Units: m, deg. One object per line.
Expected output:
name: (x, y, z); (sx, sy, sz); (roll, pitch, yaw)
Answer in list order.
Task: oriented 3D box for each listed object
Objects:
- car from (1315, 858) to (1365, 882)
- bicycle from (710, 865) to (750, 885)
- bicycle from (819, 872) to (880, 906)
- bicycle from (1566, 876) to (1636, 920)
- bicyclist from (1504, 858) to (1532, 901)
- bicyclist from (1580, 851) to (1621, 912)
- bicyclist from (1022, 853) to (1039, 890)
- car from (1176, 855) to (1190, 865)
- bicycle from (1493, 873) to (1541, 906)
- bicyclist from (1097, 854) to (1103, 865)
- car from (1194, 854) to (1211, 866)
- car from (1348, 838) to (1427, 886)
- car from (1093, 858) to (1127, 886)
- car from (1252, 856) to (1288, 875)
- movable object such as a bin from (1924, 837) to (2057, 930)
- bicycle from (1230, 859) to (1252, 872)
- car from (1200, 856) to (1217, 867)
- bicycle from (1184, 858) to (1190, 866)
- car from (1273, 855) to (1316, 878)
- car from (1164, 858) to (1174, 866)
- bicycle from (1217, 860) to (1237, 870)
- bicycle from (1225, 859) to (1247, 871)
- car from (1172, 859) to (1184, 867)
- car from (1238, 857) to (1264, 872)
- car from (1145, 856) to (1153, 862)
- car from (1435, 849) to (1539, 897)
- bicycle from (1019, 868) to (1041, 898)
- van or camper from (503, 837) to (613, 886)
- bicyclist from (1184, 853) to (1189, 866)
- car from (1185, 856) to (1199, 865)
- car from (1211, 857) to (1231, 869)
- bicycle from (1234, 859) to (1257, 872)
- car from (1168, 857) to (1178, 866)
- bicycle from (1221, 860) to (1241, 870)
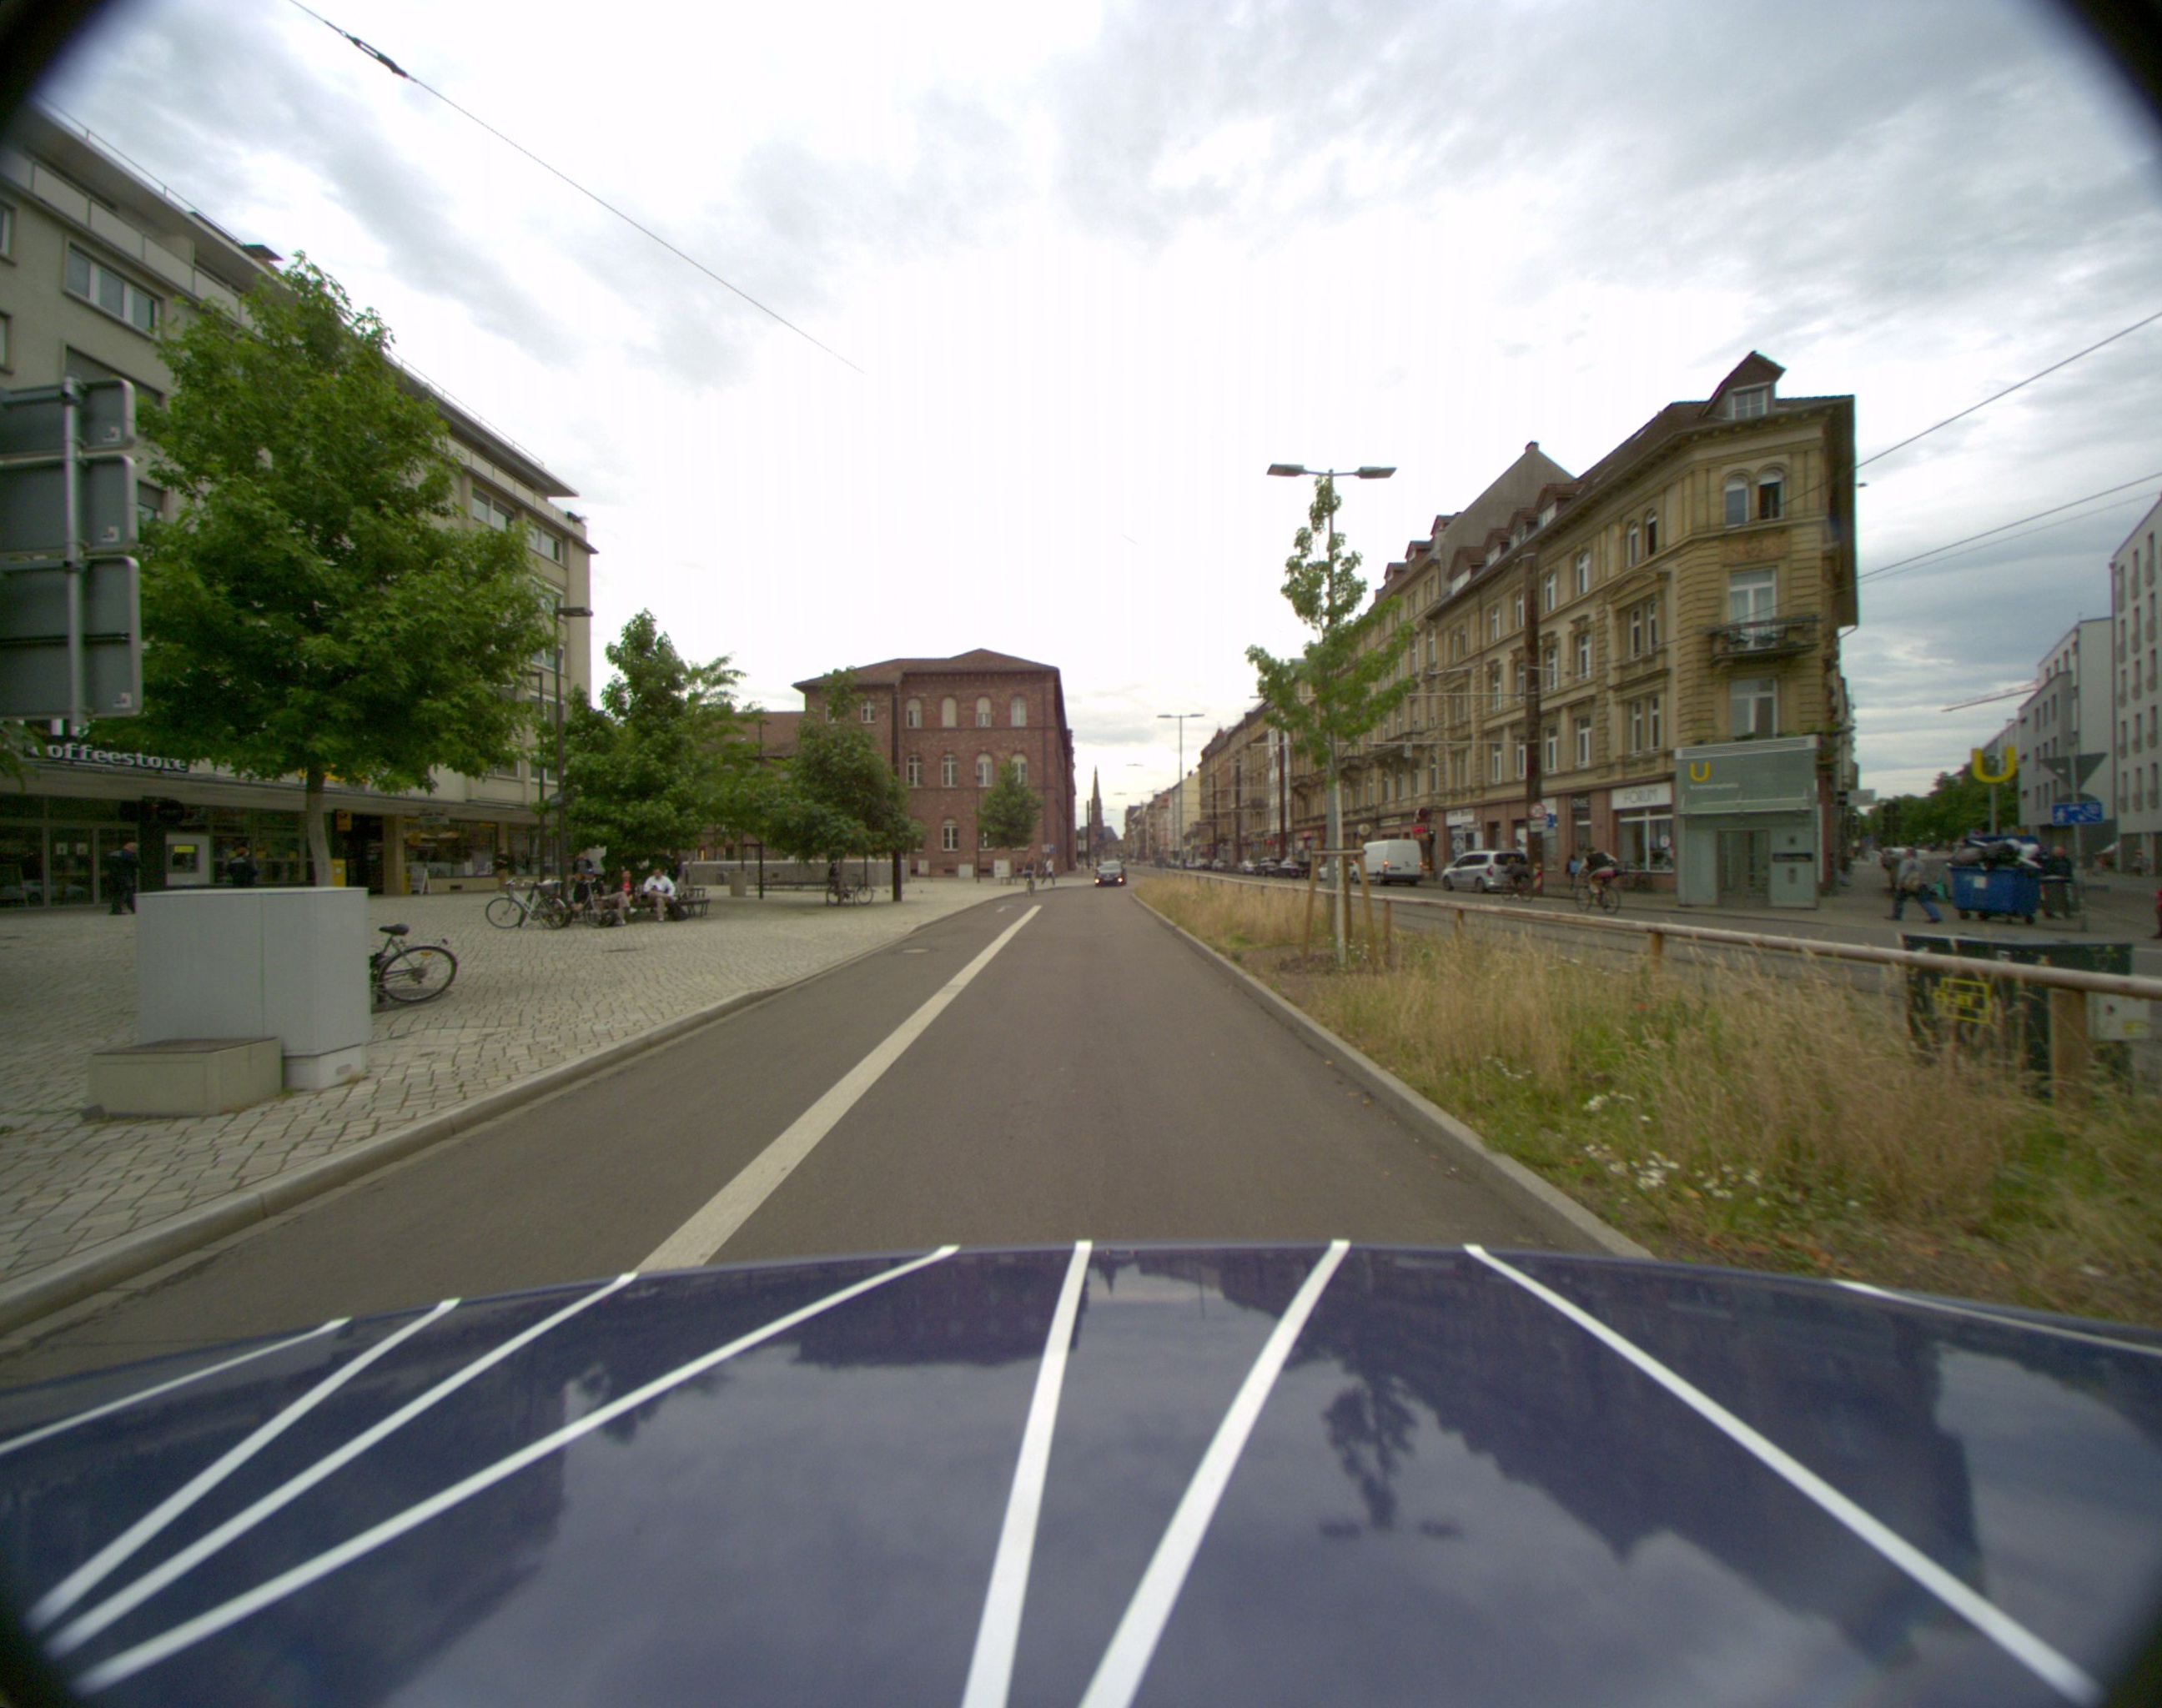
car: (17.105, 1.032, 50.416); (1.775, 1.414, 4.164); (2, 0, -1)
bicycle: (-19.969, 1.191, 43.211); (2.029, 1.058, 0.470); (1, 0, -1)
bicycle: (-7.984, 1.210, 26.217); (1.917, 1.116, 0.646); (-2, 0, 11)
bicycle: (13.362, 1.100, 19.575); (0.477, 1.015, 1.912); (0, 0, -1)
bicyclist: (14.596, 0.841, 25.399); (0.480, 1.398, 0.812); (0, 0, -1)
bicyclist: (13.368, 0.687, 19.565); (0.492, 1.531, 0.812); (0, 0, -1)
bicyclist: (-2.253, 0.778, 34.087); (0.570, 1.674, 0.794); (-1, 1, 9)
car: (17.325, 1.029, 128.973); (1.829, 1.512, 4.546); (0, -1, 1)
bicycle: (14.591, 1.180, 25.478); (0.480, 1.015, 1.912); (0, 0, -1)
bicyclist: (1.999, 0.538, 78.935); (0.587, 1.164, 0.662); (-1, 0, 0)
car: (17.591, 0.874, 110.308); (1.748, 1.662, 4.046); (0, 0, 0)
car: (17.058, 0.444, 42.685); (2.058, 2.472, 5.665); (2, 0, -1)
car: (1.692, 1.047, 45.049); (1.747, 1.538, 3.650); (-1, 0, -1)
car: (17.055, 1.018, 68.787); (1.818, 1.680, 5.030); (0, 0, -2)
movable object such as a bin: (20.206, 0.601, 16.954); (1.033, 1.970, 1.617); (0, 2, 7)
bicycle: (17.393, 1.268, 82.637); (2.288, 1.321, 0.666); (1, 0, 1)
car: (17.672, 1.015, 105.217); (1.748, 1.479, 3.921); (0, 0, 1)
bicycle: (15.585, 1.175, 111.789); (0.586, 1.167, 2.045); (1, 0, 2)
car: (16.814, 0.931, 60.111); (1.924, 1.679, 5.052); (2, 0, -1)
car: (18.346, 1.650, 158.798); (1.704, 1.662, 4.181); (-2, 0, 2)
bicycle: (17.356, 1.328, 90.332); (2.288, 1.196, 0.705); (1, 0, 1)
bicycle: (17.604, 1.289, 86.219); (2.288, 1.321, 0.666); (1, 0, 1)
car: (18.401, 1.680, 144.068); (1.651, 1.372, 3.436); (0, -1, -3)
car: (17.229, 1.081, 76.971); (1.748, 1.479, 3.920); (0, 0, 0)
car: (17.867, 1.317, 200.420); (1.867, 1.553, 4.000); (1, 0, 1)
car: (16.996, 0.738, 32.102); (1.908, 1.853, 4.520); (1, 0, -1)
bicycle: (-2.269, 1.267, 33.881); (0.524, 1.253, 1.942); (0, 0, 10)
van or camper: (-31.606, 0.438, 46.241); (1.998, 2.703, 6.560); (-2, 0, 1)
bicyclist: (15.577, 0.797, 112.129); (0.646, 1.872, 1.028); (-2, 0, 2)
car: (18.123, 1.081, 124.358); (1.748, 1.456, 4.046); (0, 0, 0)
car: (17.444, 1.126, 95.058); (1.748, 1.524, 4.225); (0, 0, 0)
bicycle: (17.335, 1.230, 80.006); (2.288, 1.321, 0.666); (1, 0, 1)
car: (17.993, 1.409, 148.494); (1.707, 1.746, 3.920); (0, 0, 2)
bicycle: (17.574, 1.301, 89.031); (2.288, 1.196, 0.705); (1, 0, 1)
